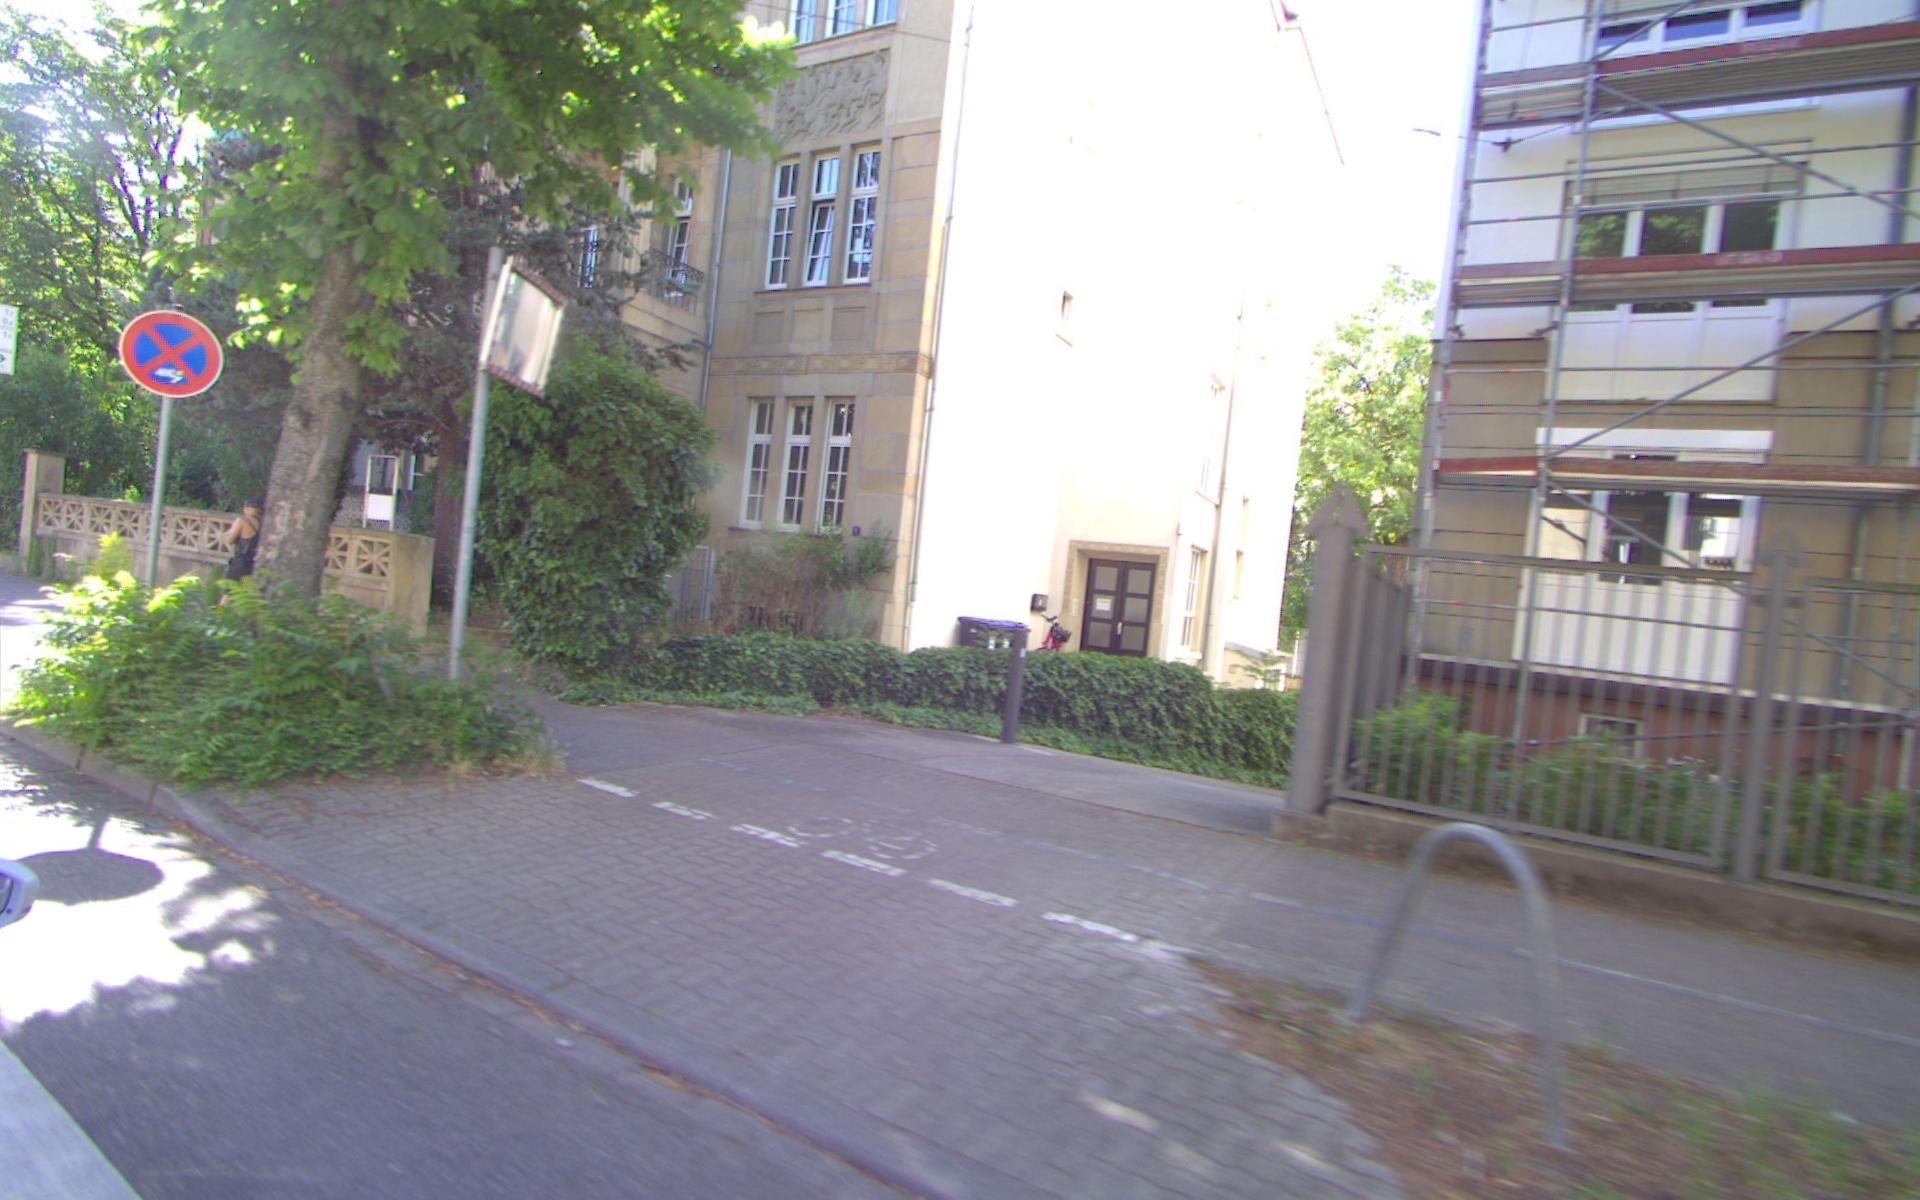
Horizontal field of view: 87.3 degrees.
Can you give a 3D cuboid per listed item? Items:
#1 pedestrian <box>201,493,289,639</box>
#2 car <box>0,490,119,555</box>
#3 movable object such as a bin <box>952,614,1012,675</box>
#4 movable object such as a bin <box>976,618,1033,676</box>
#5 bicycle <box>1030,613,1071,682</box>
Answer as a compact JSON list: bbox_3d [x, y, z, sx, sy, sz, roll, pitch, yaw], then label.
[{"bbox_3d":[-8.677,-0.407,12.205,0.636,1.693,0.592,6,2,31],"label":"pedestrian"},{"bbox_3d":[-29.604,-2.511,31.985,1.962,1.637,4.003,6,-1,7],"label":"car"},{"bbox_3d":[0.398,0.788,17.544,0.637,0.966,0.835,6,-1,30],"label":"movable object such as a bin"},{"bbox_3d":[0.811,0.855,18.307,0.637,0.966,0.835,6,-1,30],"label":"movable object such as a bin"},{"bbox_3d":[1.756,0.915,19.267,0.428,1.214,1.700,6,-1,13],"label":"bicycle"}]
